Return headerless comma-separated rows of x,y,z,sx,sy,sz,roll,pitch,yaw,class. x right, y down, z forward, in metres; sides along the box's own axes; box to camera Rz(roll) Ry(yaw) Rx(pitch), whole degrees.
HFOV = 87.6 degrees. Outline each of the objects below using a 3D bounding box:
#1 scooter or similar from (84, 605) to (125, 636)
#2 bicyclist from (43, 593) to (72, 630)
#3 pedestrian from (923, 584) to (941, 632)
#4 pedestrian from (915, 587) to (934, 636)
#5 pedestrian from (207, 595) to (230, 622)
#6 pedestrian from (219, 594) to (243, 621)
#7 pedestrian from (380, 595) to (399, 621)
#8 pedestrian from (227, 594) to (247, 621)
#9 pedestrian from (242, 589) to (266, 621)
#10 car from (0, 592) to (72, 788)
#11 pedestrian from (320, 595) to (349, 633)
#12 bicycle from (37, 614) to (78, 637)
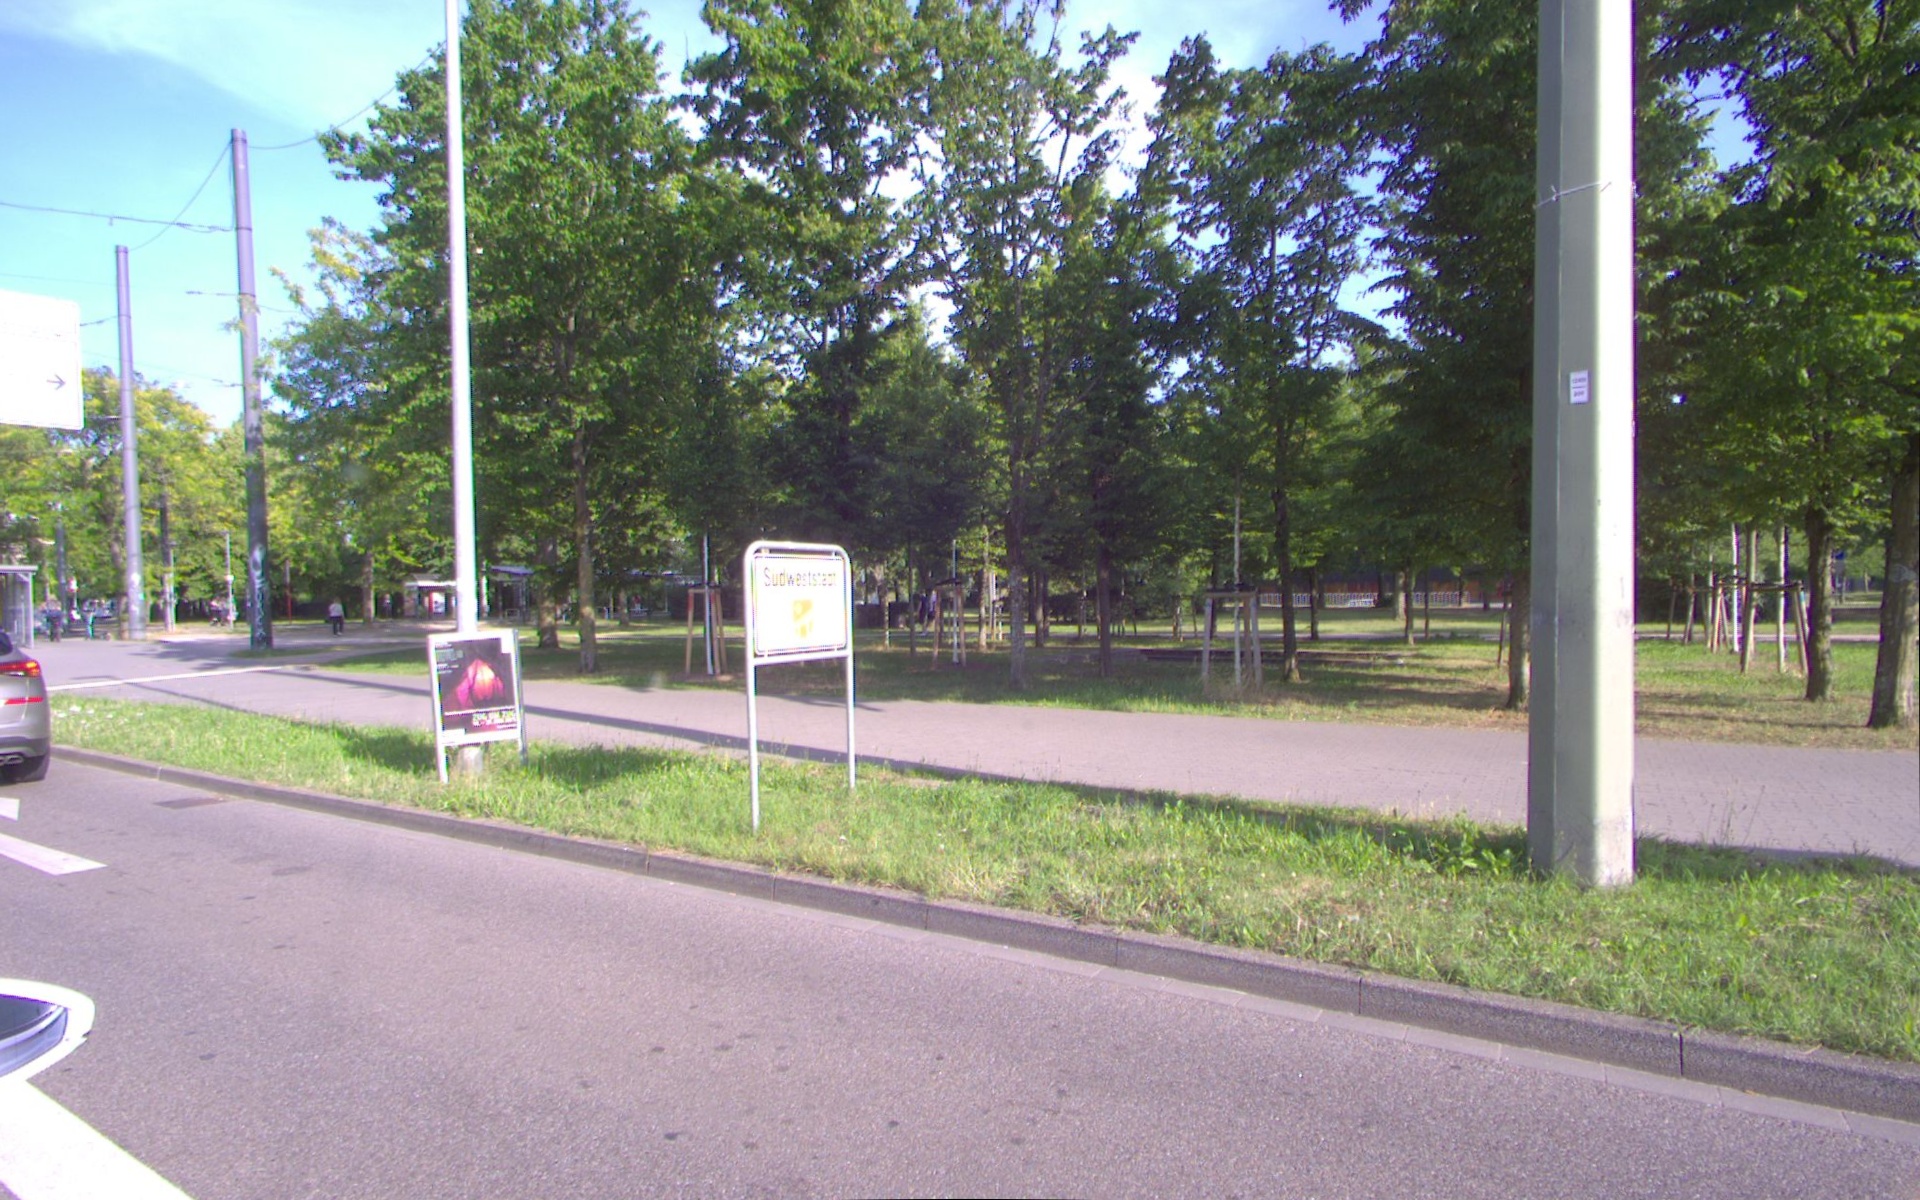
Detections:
-31.480,0.752,36.832,1.305,1.132,0.420,-1,1,13,scooter or similar
-31.774,0.405,35.257,0.856,1.279,0.533,0,1,32,bicyclist
-1.078,0.305,38.546,0.617,1.836,0.502,-1,1,3,pedestrian
-1.327,0.434,37.486,0.617,1.836,0.502,-1,1,6,pedestrian
-41.048,0.464,55.419,0.687,1.508,0.815,-1,1,-9,pedestrian
-41.112,0.419,56.446,0.688,1.508,0.813,0,1,22,pedestrian
-36.272,0.517,63.663,0.792,1.659,0.832,0,1,38,pedestrian
-40.008,0.409,55.401,0.804,1.508,0.696,-2,1,-33,pedestrian
-40.269,0.297,57.132,0.826,1.809,0.798,0,1,28,pedestrian
-9.994,0.800,9.143,3.595,1.673,1.880,-1,1,32,car
-27.512,0.605,44.080,0.793,1.659,0.754,-1,1,-7,pedestrian
-31.825,0.899,35.308,2.138,0.767,0.494,-1,2,33,bicycle
